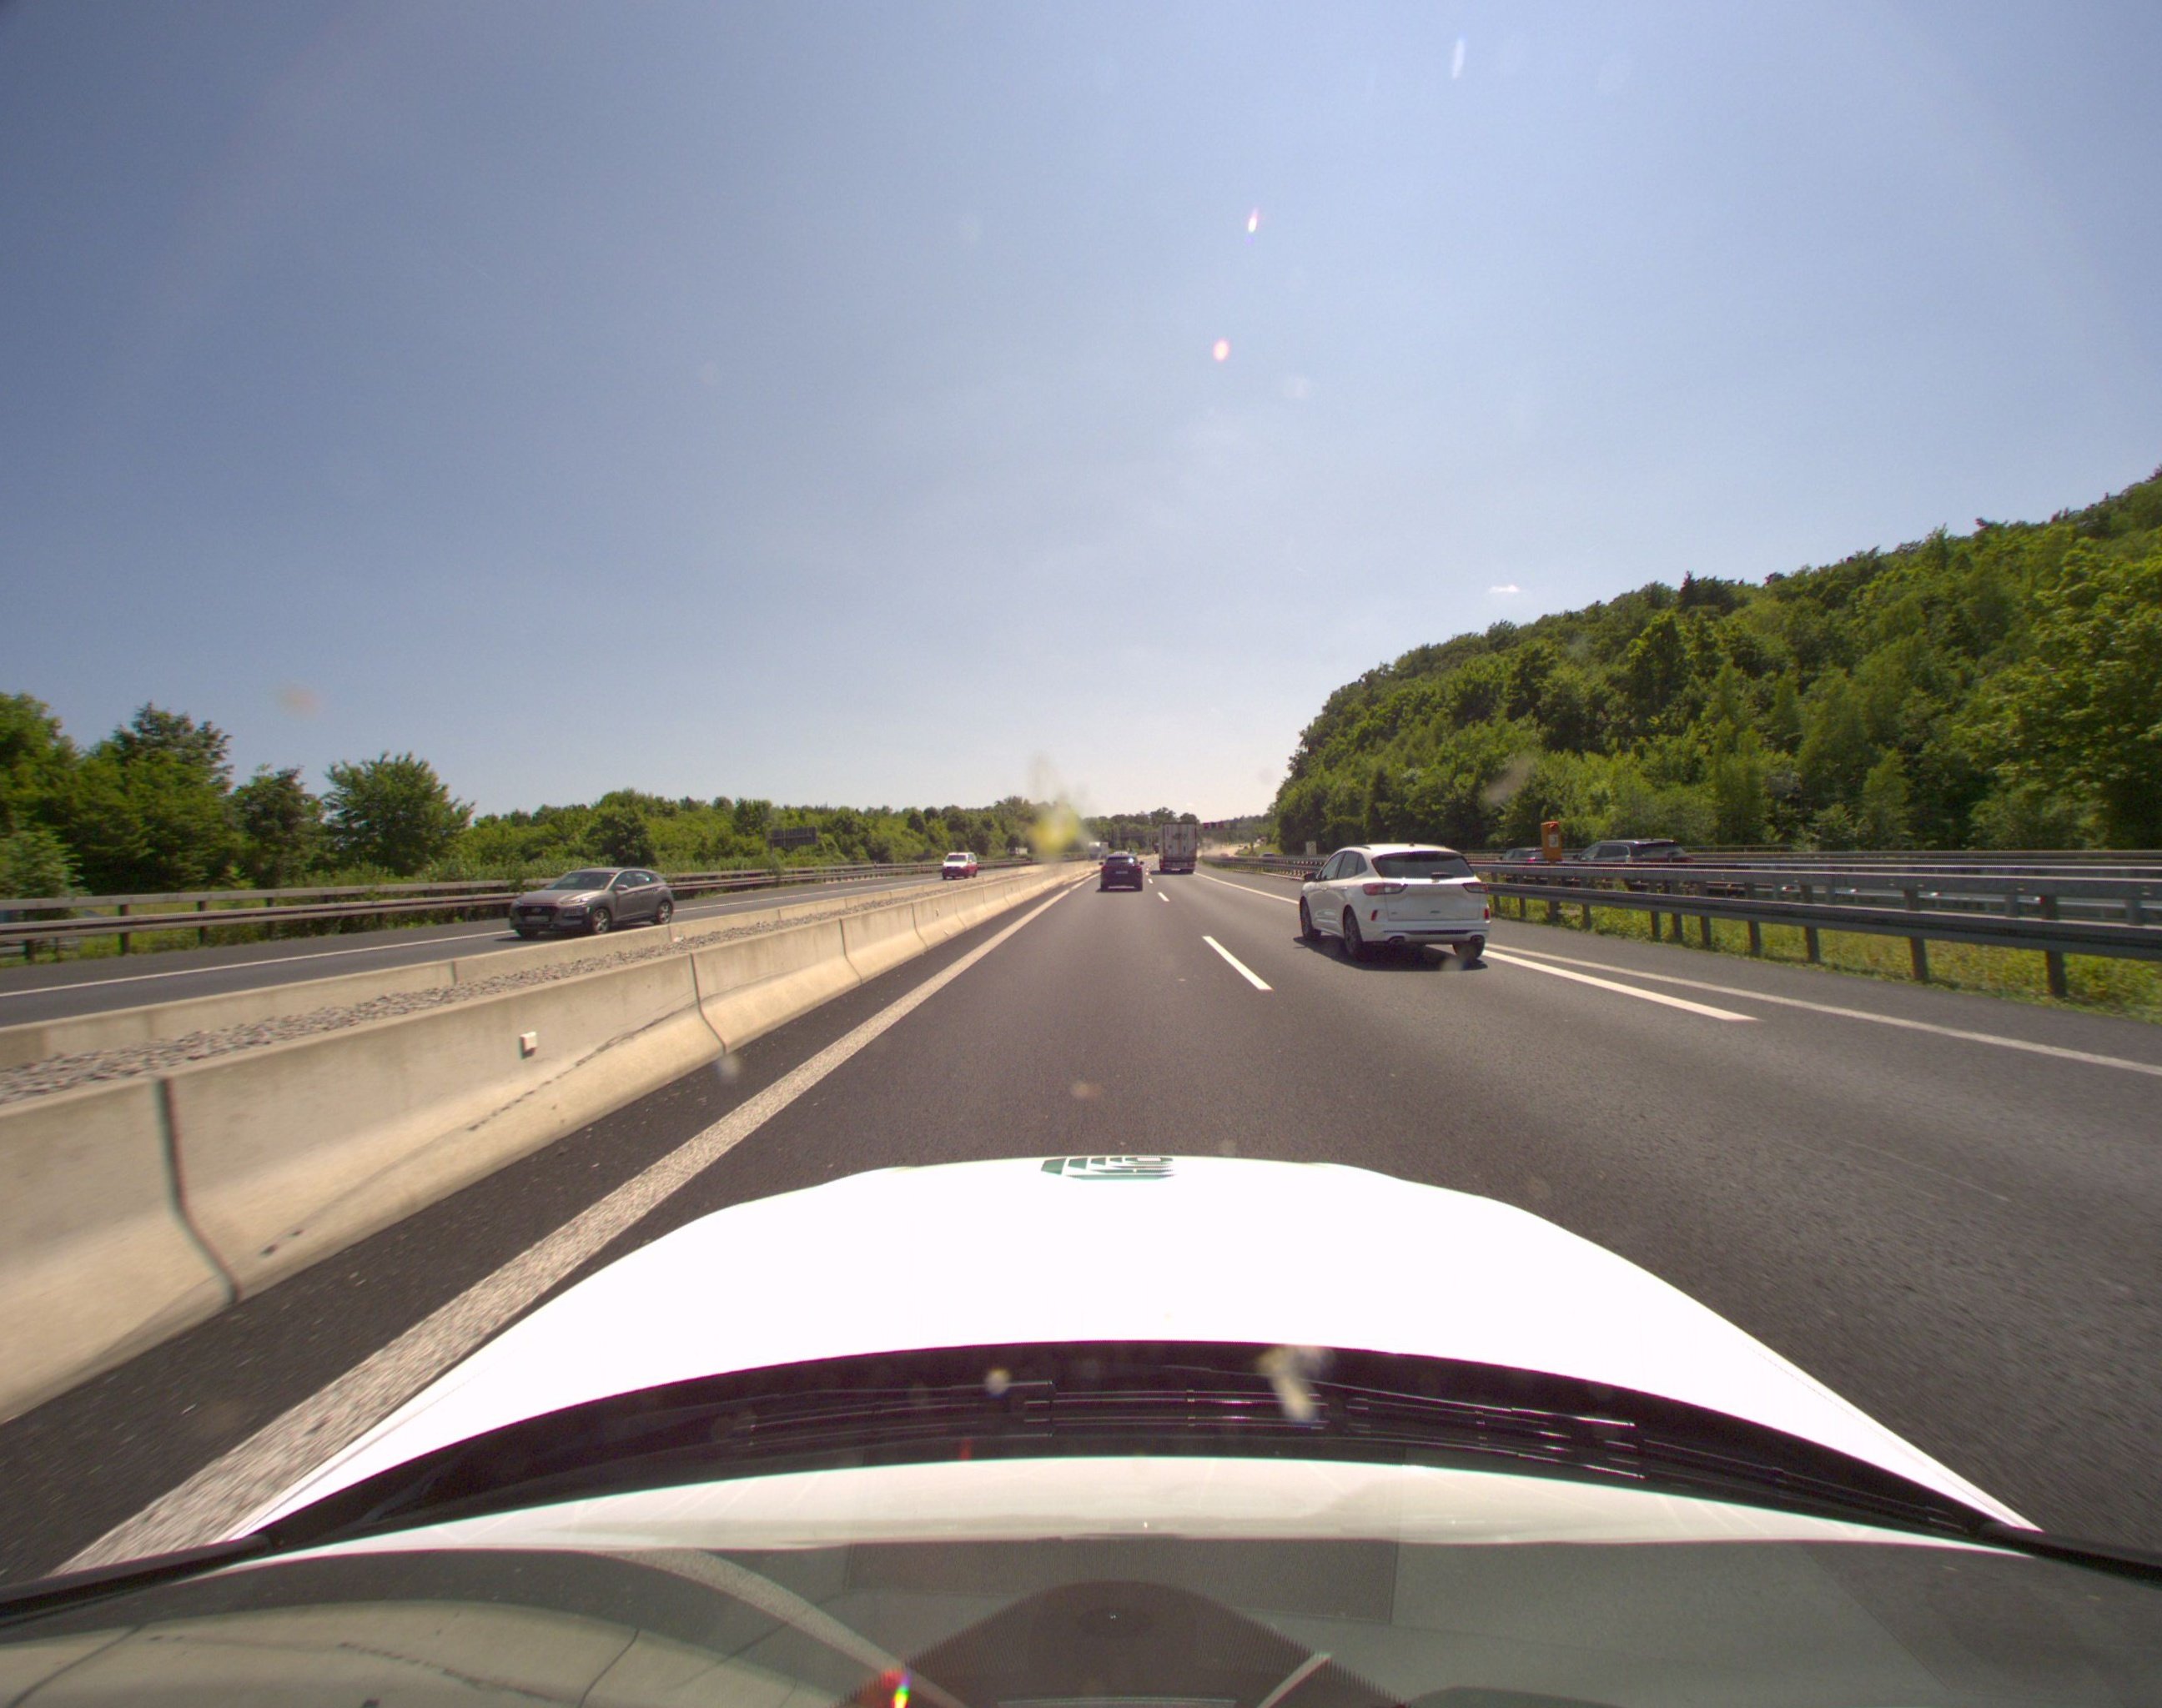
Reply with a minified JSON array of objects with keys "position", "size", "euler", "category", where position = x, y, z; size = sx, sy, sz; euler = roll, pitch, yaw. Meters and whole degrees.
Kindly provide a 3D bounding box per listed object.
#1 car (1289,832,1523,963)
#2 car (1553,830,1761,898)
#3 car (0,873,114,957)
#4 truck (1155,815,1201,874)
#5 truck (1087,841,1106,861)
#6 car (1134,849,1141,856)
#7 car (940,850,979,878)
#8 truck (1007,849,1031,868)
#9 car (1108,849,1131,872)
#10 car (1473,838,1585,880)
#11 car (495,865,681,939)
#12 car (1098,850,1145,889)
[{"position":[4.798,0.604,12.837],"size":[1.986,1.662,4.469],"euler":[-1,-1,2],"category":"car"},{"position":[16.080,0.296,23.261],"size":[1.987,1.662,5.626],"euler":[-1,-1,1],"category":"car"},{"position":[-23.745,1.313,17.101],"size":[1.985,1.767,4.002],"euler":[-1,-1,2],"category":"car"},{"position":[7.941,-0.639,67.841],"size":[3.019,4.418,12.029],"euler":[-1,-1,4],"category":"truck"},{"position":[3.335,-0.616,172.197],"size":[2.682,3.960,10.799],"euler":[-1,-1,8],"category":"truck"},{"position":[16.593,-0.346,238.757],"size":[1.986,2.013,4.001],"euler":[-1,0,1],"category":"car"},{"position":[-9.103,0.778,61.561],"size":[1.986,2.014,5.380],"euler":[-1,-1,1],"category":"car"},{"position":[-12.987,0.973,172.242],"size":[2.682,3.960,10.799],"euler":[-1,-1,8],"category":"truck"},{"position":[3.786,0.633,80.736],"size":[1.987,2.013,4.000],"euler":[-4,0,1],"category":"car"},{"position":[19.720,0.209,36.176],"size":[1.988,1.662,5.226],"euler":[-2,0,-1],"category":"car"},{"position":[-11.504,1.049,19.420],"size":[1.721,1.532,4.263],"euler":[0,0,2],"category":"car"},{"position":[1.728,0.675,35.894],"size":[1.774,1.577,3.997],"euler":[-1,-1,-1],"category":"car"}]
